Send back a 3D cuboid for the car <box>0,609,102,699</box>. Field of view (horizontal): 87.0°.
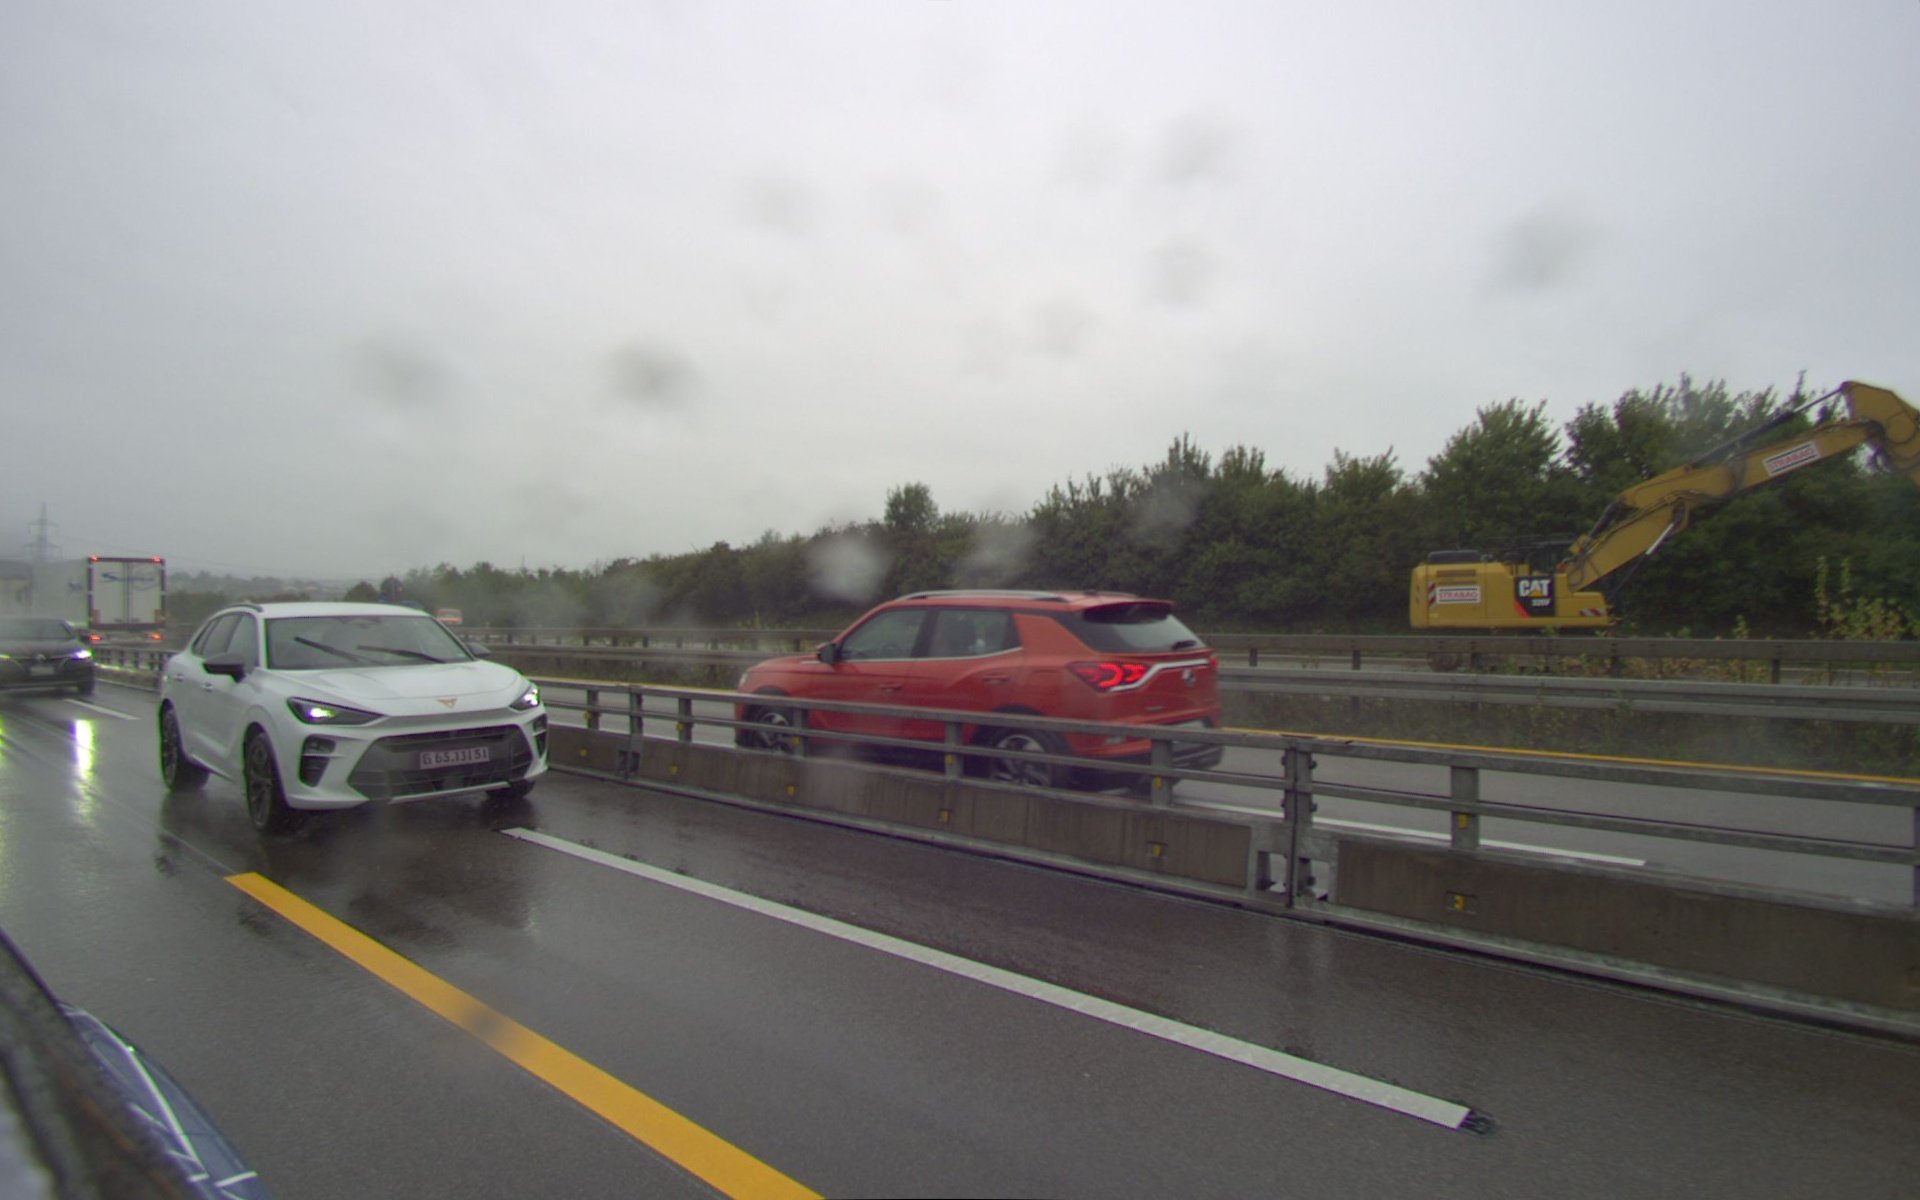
[{"bbox_3d":[-19.252,1.028,20.682,5.195,1.640,2.041,-1,-1,43],"label":"car"}]

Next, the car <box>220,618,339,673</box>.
[{"bbox_3d":[-20.639,1.321,30.651,4.294,1.517,1.973,-1,-1,41],"label":"car"}]

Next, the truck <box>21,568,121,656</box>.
[{"bbox_3d":[-44.391,0.658,50.459,6.923,4.133,2.853,-2,-2,41],"label":"truck"}]

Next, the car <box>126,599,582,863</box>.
[{"bbox_3d":[-5.245,0.813,8.396,5.006,1.562,1.907,-1,-1,43],"label":"car"}]

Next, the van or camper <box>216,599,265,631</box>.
[{"bbox_3d":[-101.781,2.101,143.075,8.494,4.356,3.335,-1,0,38],"label":"van or camper"}]

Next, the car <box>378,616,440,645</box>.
[{"bbox_3d":[-39.818,2.152,73.039,5.359,1.981,2.073,-1,-1,39],"label":"car"}]

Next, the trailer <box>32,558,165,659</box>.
[{"bbox_3d":[-39.524,0.519,46.210,12.214,4.121,2.877,-2,-2,41],"label":"trailer"}]

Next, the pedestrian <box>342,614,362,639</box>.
[{"bbox_3d":[-51.478,2.225,85.742,1.124,2.029,1.095,-1,0,36],"label":"pedestrian"}]

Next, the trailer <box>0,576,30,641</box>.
[{"bbox_3d":[-64.870,0.634,67.646,12.577,4.080,2.469,-1,-1,40],"label":"trailer"}]

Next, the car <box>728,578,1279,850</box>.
[{"bbox_3d":[0.155,0.682,8.039,4.182,1.605,1.783,-1,0,41],"label":"car"}]

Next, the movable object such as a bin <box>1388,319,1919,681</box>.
[{"bbox_3d":[15.032,-1.654,20.384,11.049,5.959,4.124,-1,0,44],"label":"movable object such as a bin"}]
